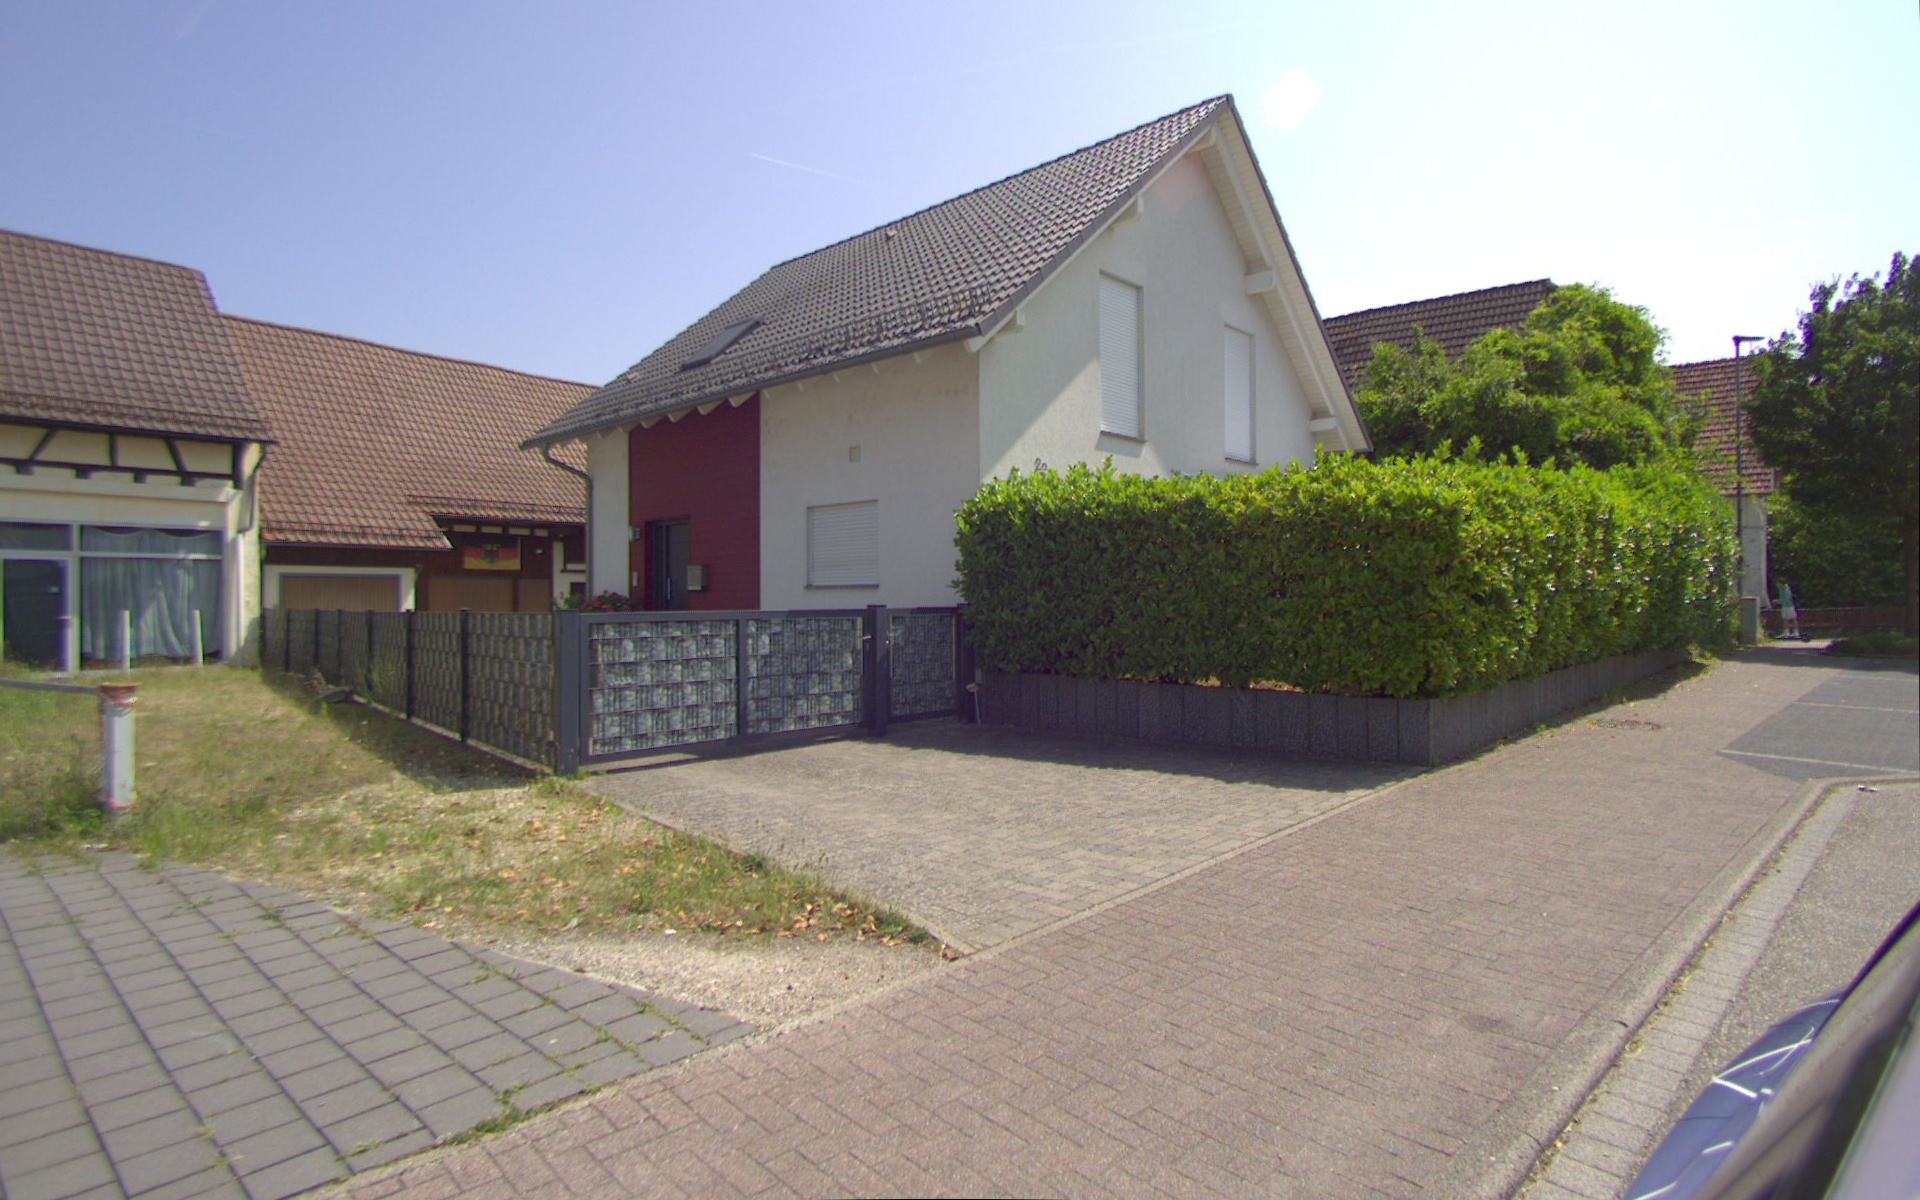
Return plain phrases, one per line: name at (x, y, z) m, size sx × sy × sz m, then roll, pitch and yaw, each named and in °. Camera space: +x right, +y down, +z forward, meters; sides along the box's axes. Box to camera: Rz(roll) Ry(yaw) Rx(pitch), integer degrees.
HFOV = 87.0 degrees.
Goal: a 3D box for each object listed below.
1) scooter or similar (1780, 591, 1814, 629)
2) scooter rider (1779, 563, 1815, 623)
scooter or similar at (24.585, 0.289, 29.729) m, size 0.677 × 1.103 × 0.543 m, roll -1°, pitch 0°, yaw -29°
scooter rider at (24.574, -0.207, 29.729) m, size 0.627 × 1.745 × 0.618 m, roll -1°, pitch 0°, yaw -29°
